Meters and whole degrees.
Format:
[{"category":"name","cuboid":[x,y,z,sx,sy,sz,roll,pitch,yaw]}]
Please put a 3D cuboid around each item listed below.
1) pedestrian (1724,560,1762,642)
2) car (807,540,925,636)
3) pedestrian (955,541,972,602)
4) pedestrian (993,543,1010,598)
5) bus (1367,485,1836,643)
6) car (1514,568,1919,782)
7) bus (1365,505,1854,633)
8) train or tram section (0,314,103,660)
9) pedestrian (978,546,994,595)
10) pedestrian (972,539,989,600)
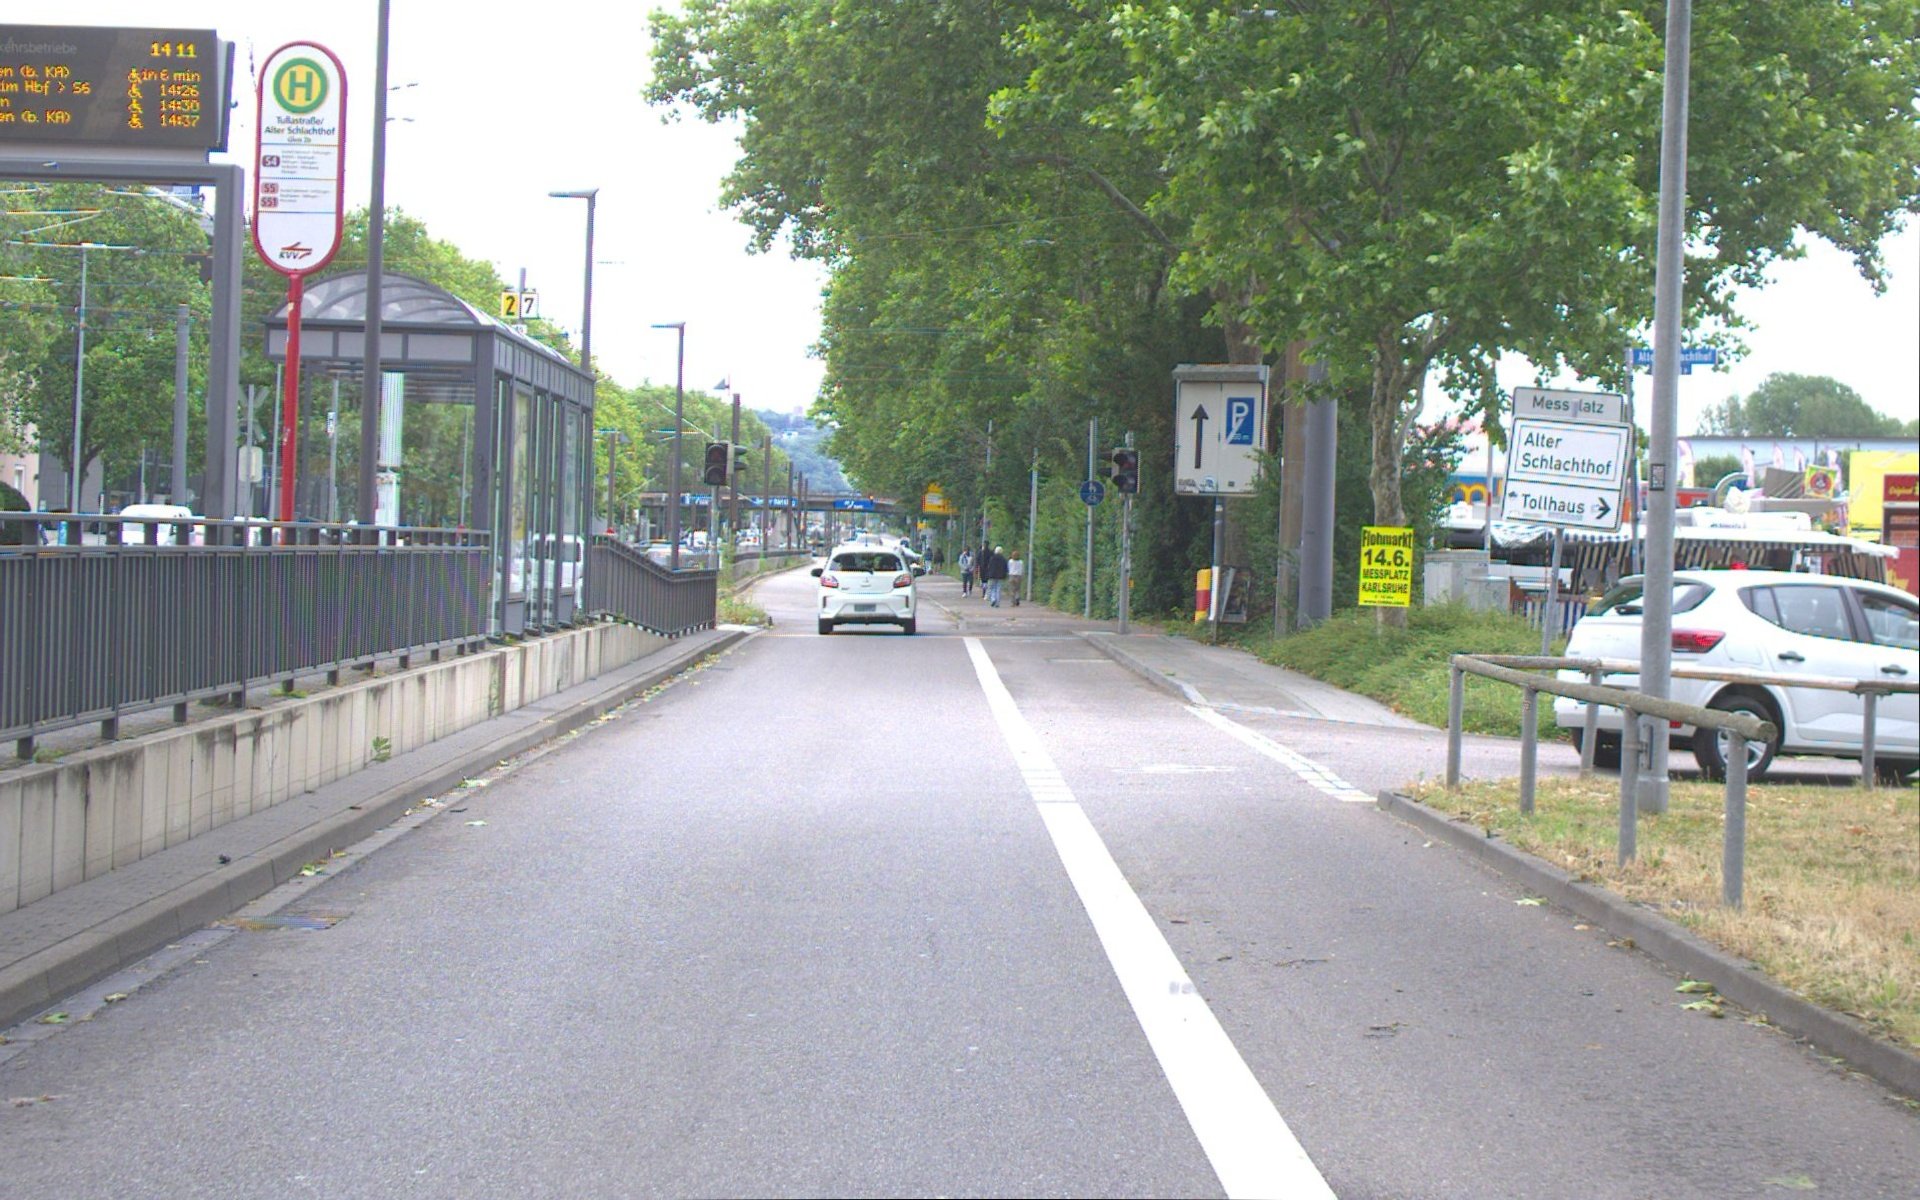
[{"category":"pedestrian","cuboid":[14.139,0.011,62.100,0.492,1.458,0.524,2,0,-4]},{"category":"car","cuboid":[-1.563,-0.224,58.327,1.841,1.546,4.000,1,1,0]},{"category":"pedestrian","cuboid":[0.121,-0.949,113.419,0.396,2.007,0.402,2,0,14]},{"category":"pedestrian","cuboid":[1.210,-0.865,100.328,0.396,1.580,0.538,2,0,-5]},{"category":"bus","cuboid":[13.271,-0.740,71.373,9.276,2.950,2.000,2,0,-3]},{"category":"car","cuboid":[6.312,0.554,25.336,3.986,1.448,1.892,2,0,-25]},{"category":"bus","cuboid":[12.848,-0.610,68.292,9.276,2.220,2.000,2,0,-3]},{"category":"train or tram section","cuboid":[-13.117,-1.384,39.136,3.180,4.164,14.735,2,0,-1]},{"category":"pedestrian","cuboid":[0.759,-0.859,100.279,0.396,1.439,0.563,2,0,-5]},{"category":"pedestrian","cuboid":[0.682,-1.005,113.322,0.396,2.007,0.402,2,0,14]}]
